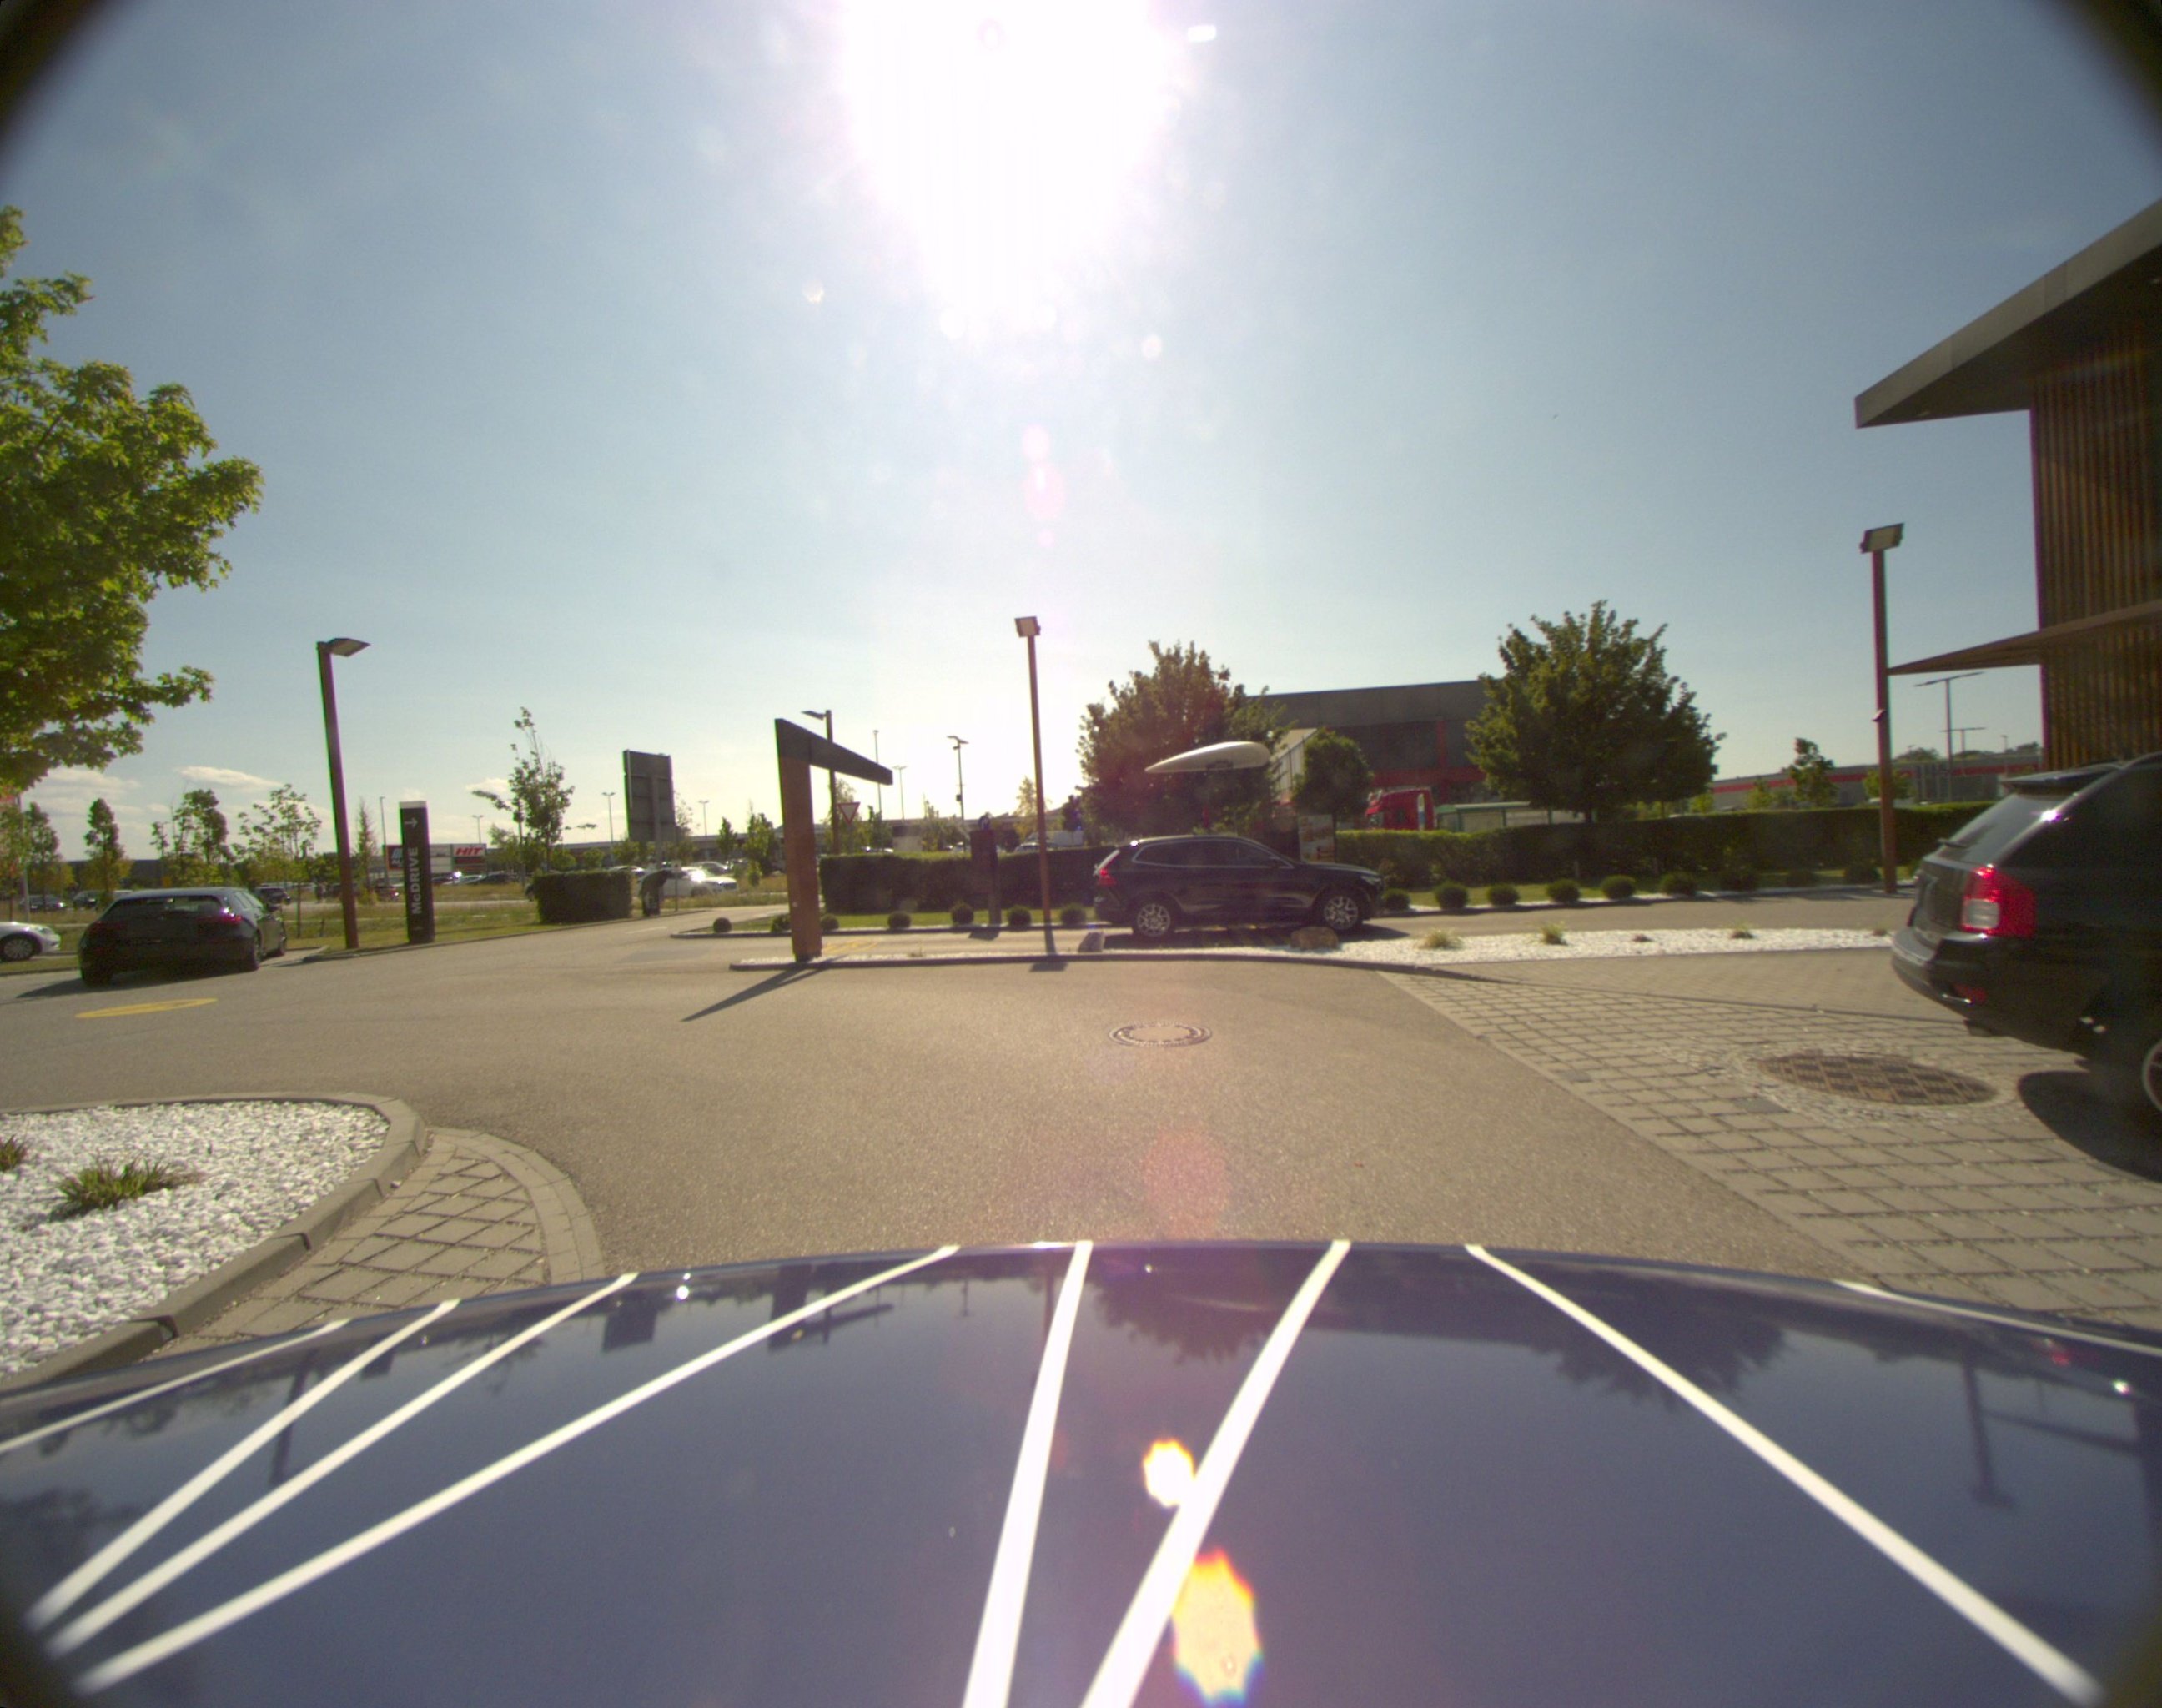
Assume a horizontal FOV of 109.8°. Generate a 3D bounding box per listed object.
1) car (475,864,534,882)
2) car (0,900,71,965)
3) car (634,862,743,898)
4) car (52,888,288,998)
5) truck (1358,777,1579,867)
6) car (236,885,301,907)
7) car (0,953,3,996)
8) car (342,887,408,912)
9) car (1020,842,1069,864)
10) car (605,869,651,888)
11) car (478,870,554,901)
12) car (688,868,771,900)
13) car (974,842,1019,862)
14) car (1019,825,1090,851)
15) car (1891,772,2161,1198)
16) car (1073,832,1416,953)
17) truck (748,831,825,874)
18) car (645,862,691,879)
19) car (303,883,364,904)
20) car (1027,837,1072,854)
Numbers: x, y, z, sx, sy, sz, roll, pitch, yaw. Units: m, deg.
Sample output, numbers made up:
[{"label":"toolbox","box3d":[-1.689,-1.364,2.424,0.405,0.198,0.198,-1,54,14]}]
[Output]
[{"label":"car","box3d":[-53.900,1.787,71.129,4.001,1.455,1.759,-3,1,-12]},{"label":"car","box3d":[-25.571,1.878,16.333,1.885,1.390,4.158,-2,1,13]},{"label":"car","box3d":[-17.725,1.184,34.361,4.314,1.414,1.737,-2,1,16]},{"label":"car","box3d":[-15.182,1.362,12.932,1.917,1.414,3.765,-3,1,-41]},{"label":"truck","box3d":[18.890,-1.518,37.597,9.119,3.844,3.211,-2,1,6]},{"label":"car","box3d":[-60.528,3.144,56.610,3.991,1.455,1.763,-2,1,19]},{"label":"car","box3d":[-15.573,1.416,9.477,4.075,1.414,1.801,-2,1,44]},{"label":"car","box3d":[-47.354,3.049,50.955,3.569,1.436,1.637,-2,1,18]},{"label":"car","box3d":[-3.094,-0.091,65.590,3.996,1.718,1.894,-3,1,2]},{"label":"car","box3d":[-42.126,2.250,70.663,1.536,1.547,3.226,-2,1,33]},{"label":"car","box3d":[-32.843,1.842,44.189,3.446,1.587,1.566,-2,1,10]},{"label":"car","box3d":[-19.433,1.656,42.027,3.769,1.551,1.803,-2,1,13]},{"label":"car","box3d":[-8.261,-0.223,74.490,1.889,1.718,4.265,-2,1,37]},{"label":"car","box3d":[-2.532,-1.557,73.757,6.564,2.231,2.301,-3,1,5]},{"label":"car","box3d":[5.847,0.438,2.640,4.028,1.696,1.678,-3,1,44]},{"label":"car","box3d":[2.501,0.583,12.446,5.059,1.620,1.925,-3,1,4]},{"label":"truck","box3d":[-24.658,-0.050,63.365,7.544,3.333,2.427,-1,2,39]},{"label":"car","box3d":[-36.899,1.459,67.934,1.536,1.376,3.226,-2,1,33]},{"label":"car","box3d":[-58.865,3.120,59.872,3.991,1.455,1.763,-2,1,19]},{"label":"car","box3d":[-2.909,-0.785,70.697,3.903,1.334,1.666,-3,1,5]}]
